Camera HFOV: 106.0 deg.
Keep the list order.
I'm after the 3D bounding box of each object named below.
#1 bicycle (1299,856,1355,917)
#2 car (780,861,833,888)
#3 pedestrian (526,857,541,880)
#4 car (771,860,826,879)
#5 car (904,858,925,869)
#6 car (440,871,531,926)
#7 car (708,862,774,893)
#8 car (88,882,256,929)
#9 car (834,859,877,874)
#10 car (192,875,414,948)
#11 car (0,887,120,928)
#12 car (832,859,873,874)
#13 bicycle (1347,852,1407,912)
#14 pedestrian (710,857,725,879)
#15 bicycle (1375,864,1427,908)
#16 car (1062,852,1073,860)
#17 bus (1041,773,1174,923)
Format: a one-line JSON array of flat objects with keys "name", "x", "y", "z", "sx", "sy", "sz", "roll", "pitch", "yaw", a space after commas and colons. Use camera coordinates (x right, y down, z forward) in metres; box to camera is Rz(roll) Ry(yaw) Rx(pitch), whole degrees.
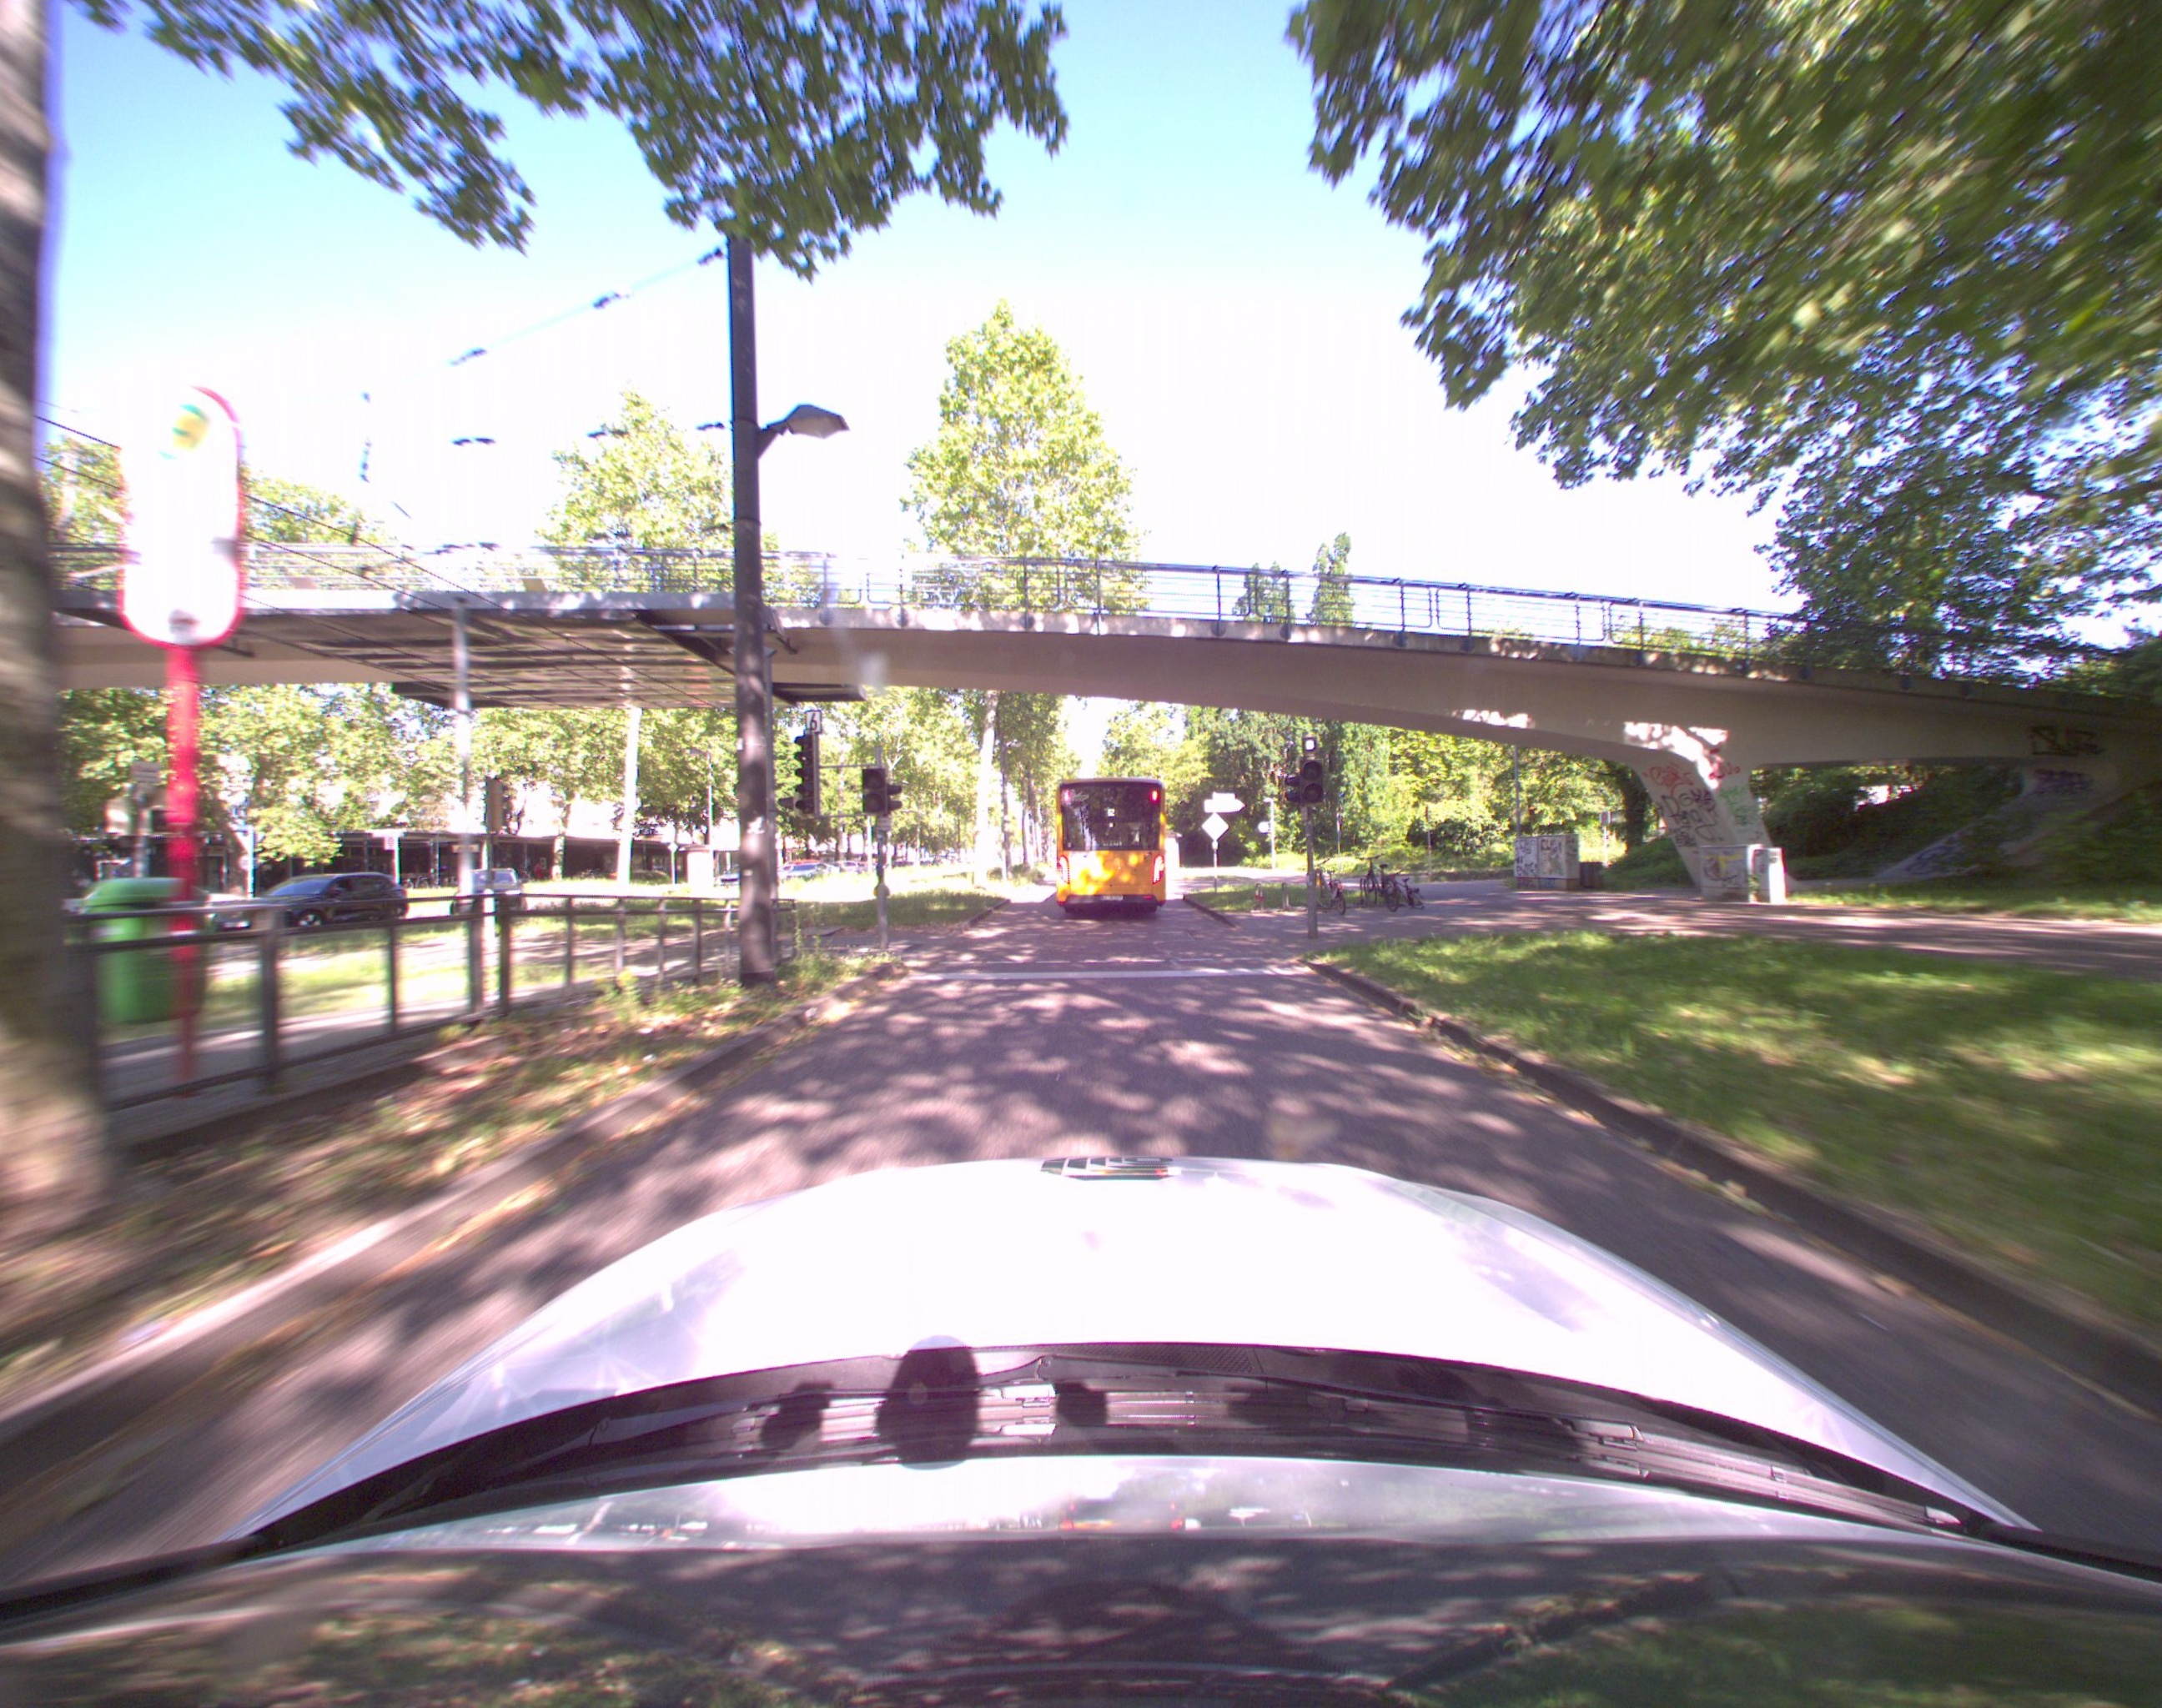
[{"name": "bicycle", "x": 5.287, "y": 0.673, "z": 17.621, "sx": 0.588, "sy": 1.182, "sz": 1.800, "roll": -5, "pitch": 1, "yaw": 1}, {"name": "car", "x": -17.545, "y": 1.281, "z": 52.244, "sx": 1.789, "sy": 1.510, "sz": 4.673, "roll": -2, "pitch": 0, "yaw": -1}, {"name": "pedestrian", "x": -41.366, "y": 1.099, "z": 61.538, "sx": 0.647, "sy": 1.661, "sz": 0.649, "roll": -2, "pitch": 0, "yaw": -4}, {"name": "car", "x": -24.321, "y": 1.334, "z": 70.144, "sx": 1.777, "sy": 1.510, "sz": 4.024, "roll": -2, "pitch": 0, "yaw": 45}, {"name": "car", "x": -23.075, "y": 1.315, "z": 113.145, "sx": 1.786, "sy": 1.510, "sz": 4.005, "roll": -2, "pitch": 0, "yaw": 4}, {"name": "car", "x": -19.688, "y": 1.404, "z": 27.103, "sx": 1.805, "sy": 1.566, "sz": 4.249, "roll": -2, "pitch": 0, "yaw": -28}, {"name": "car", "x": -19.185, "y": 1.295, "z": 46.169, "sx": 1.787, "sy": 1.580, "sz": 4.289, "roll": -2, "pitch": 0, "yaw": 2}, {"name": "car", "x": -34.471, "y": 1.926, "z": 30.972, "sx": 4.068, "sy": 1.510, "sz": 1.797, "roll": -2, "pitch": 0, "yaw": -6}, {"name": "car", "x": -24.289, "y": 1.344, "z": 87.733, "sx": 1.777, "sy": 1.510, "sz": 4.024, "roll": -2, "pitch": 0, "yaw": 45}, {"name": "car", "x": -20.142, "y": 1.417, "z": 21.407, "sx": 1.790, "sy": 1.566, "sz": 4.284, "roll": -2, "pitch": 0, "yaw": -2}, {"name": "car", "x": -43.266, "y": 2.244, "z": 33.953, "sx": 3.980, "sy": 1.510, "sz": 1.797, "roll": -2, "pitch": 0, "yaw": -5}, {"name": "car", "x": -25.453, "y": 1.368, "z": 90.761, "sx": 1.777, "sy": 1.510, "sz": 4.024, "roll": -2, "pitch": 0, "yaw": 45}, {"name": "bicycle", "x": 6.410, "y": 0.577, "z": 17.716, "sx": 0.588, "sy": 1.182, "sz": 1.800, "roll": -5, "pitch": 1, "yaw": 1}, {"name": "pedestrian", "x": -24.359, "y": 0.921, "z": 54.599, "sx": 0.645, "sy": 1.460, "sz": 0.651, "roll": -2, "pitch": 0, "yaw": 3}, {"name": "bicycle", "x": 7.042, "y": 0.686, "z": 17.971, "sx": 0.503, "sy": 0.852, "sz": 1.473, "roll": -5, "pitch": 1, "yaw": 1}, {"name": "car", "x": -2.645, "y": 0.388, "z": 161.287, "sx": 1.978, "sy": 1.643, "sz": 4.136, "roll": 1, "pitch": 1, "yaw": 3}, {"name": "bus", "x": 0.654, "y": -0.131, "z": 24.341, "sx": 2.890, "sy": 3.266, "sz": 12.218, "roll": -2, "pitch": 0, "yaw": 1}]
